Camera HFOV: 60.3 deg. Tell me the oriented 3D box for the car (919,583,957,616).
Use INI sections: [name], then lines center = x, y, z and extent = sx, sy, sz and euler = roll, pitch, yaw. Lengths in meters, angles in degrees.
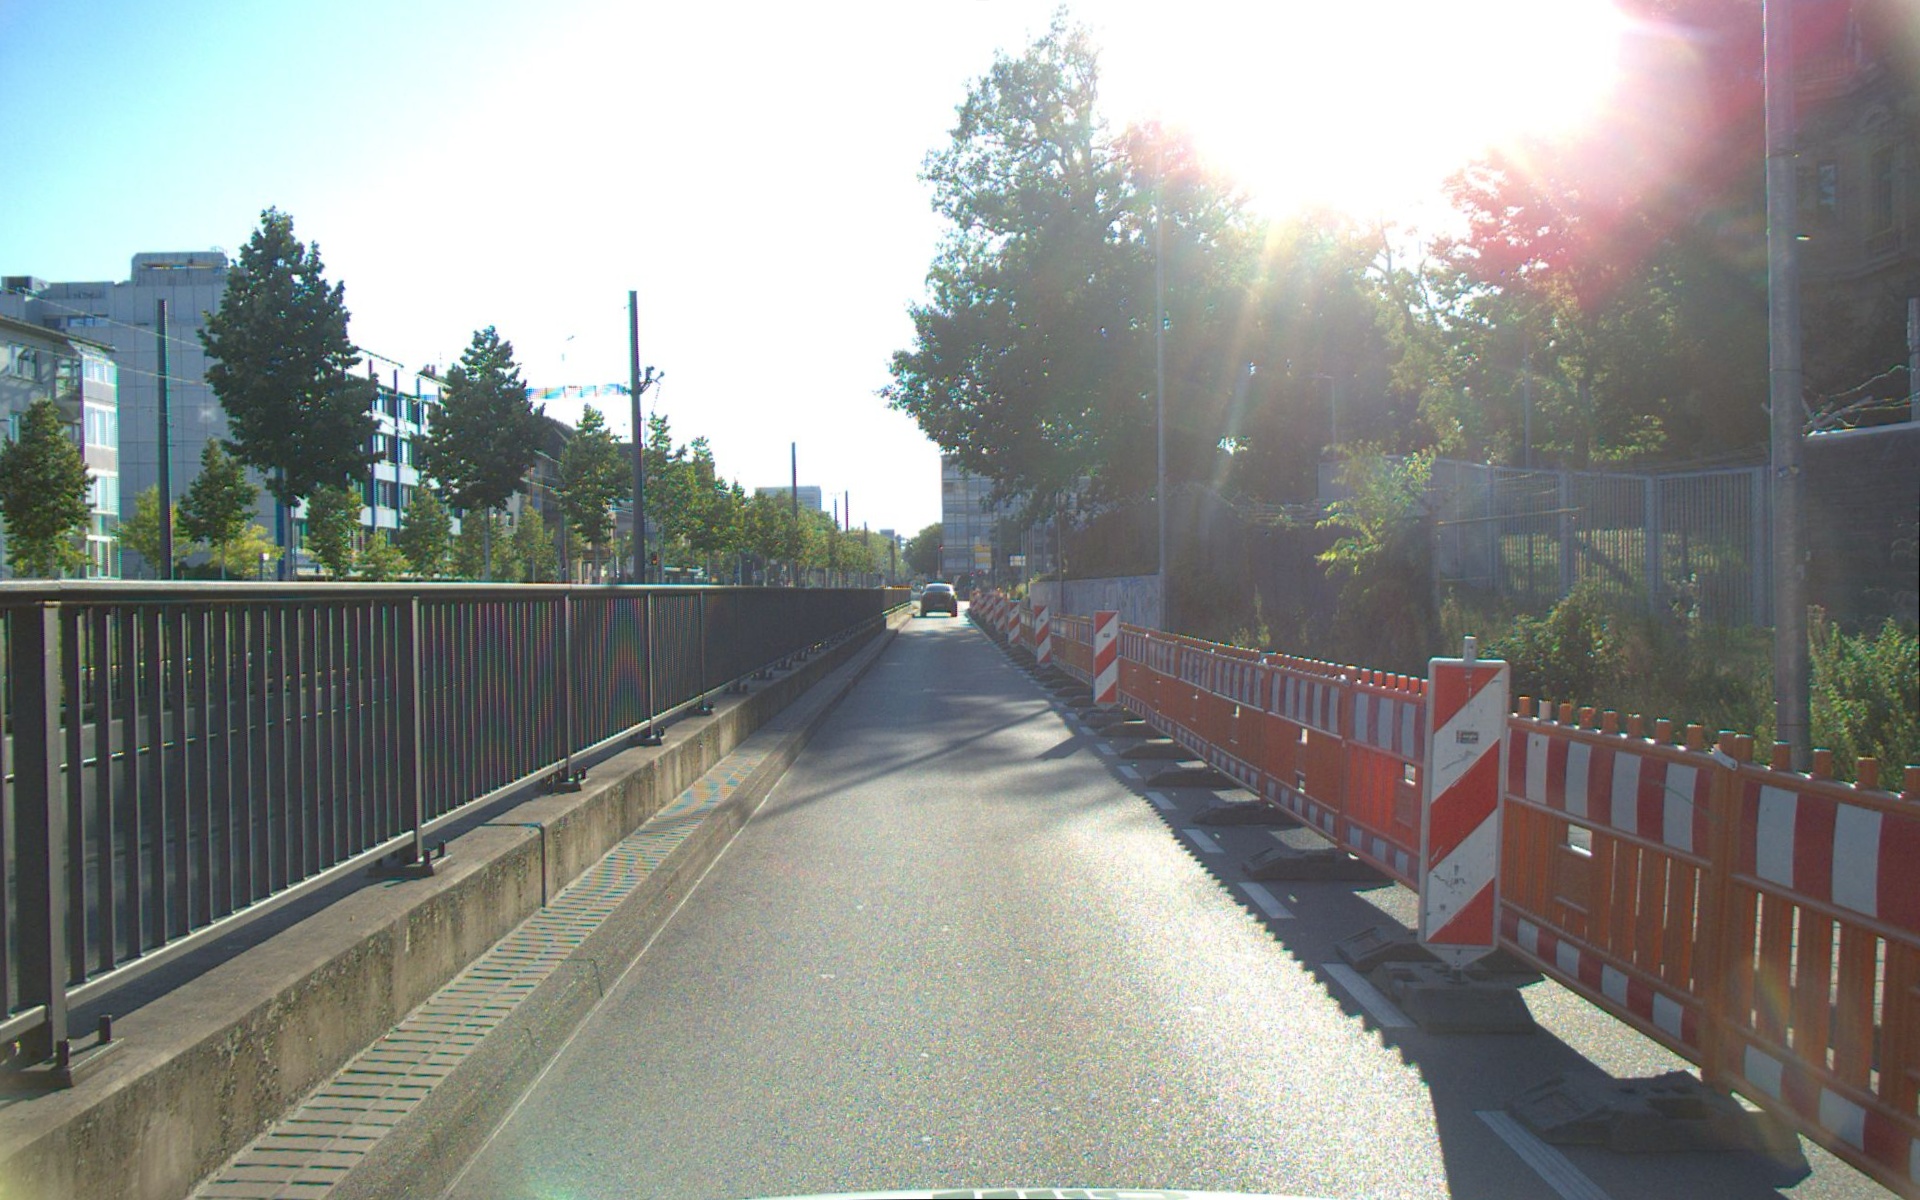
[car]
center = -1.181, -0.020, 89.226
extent = 1.964, 1.688, 4.000
euler = 1, 0, 0
